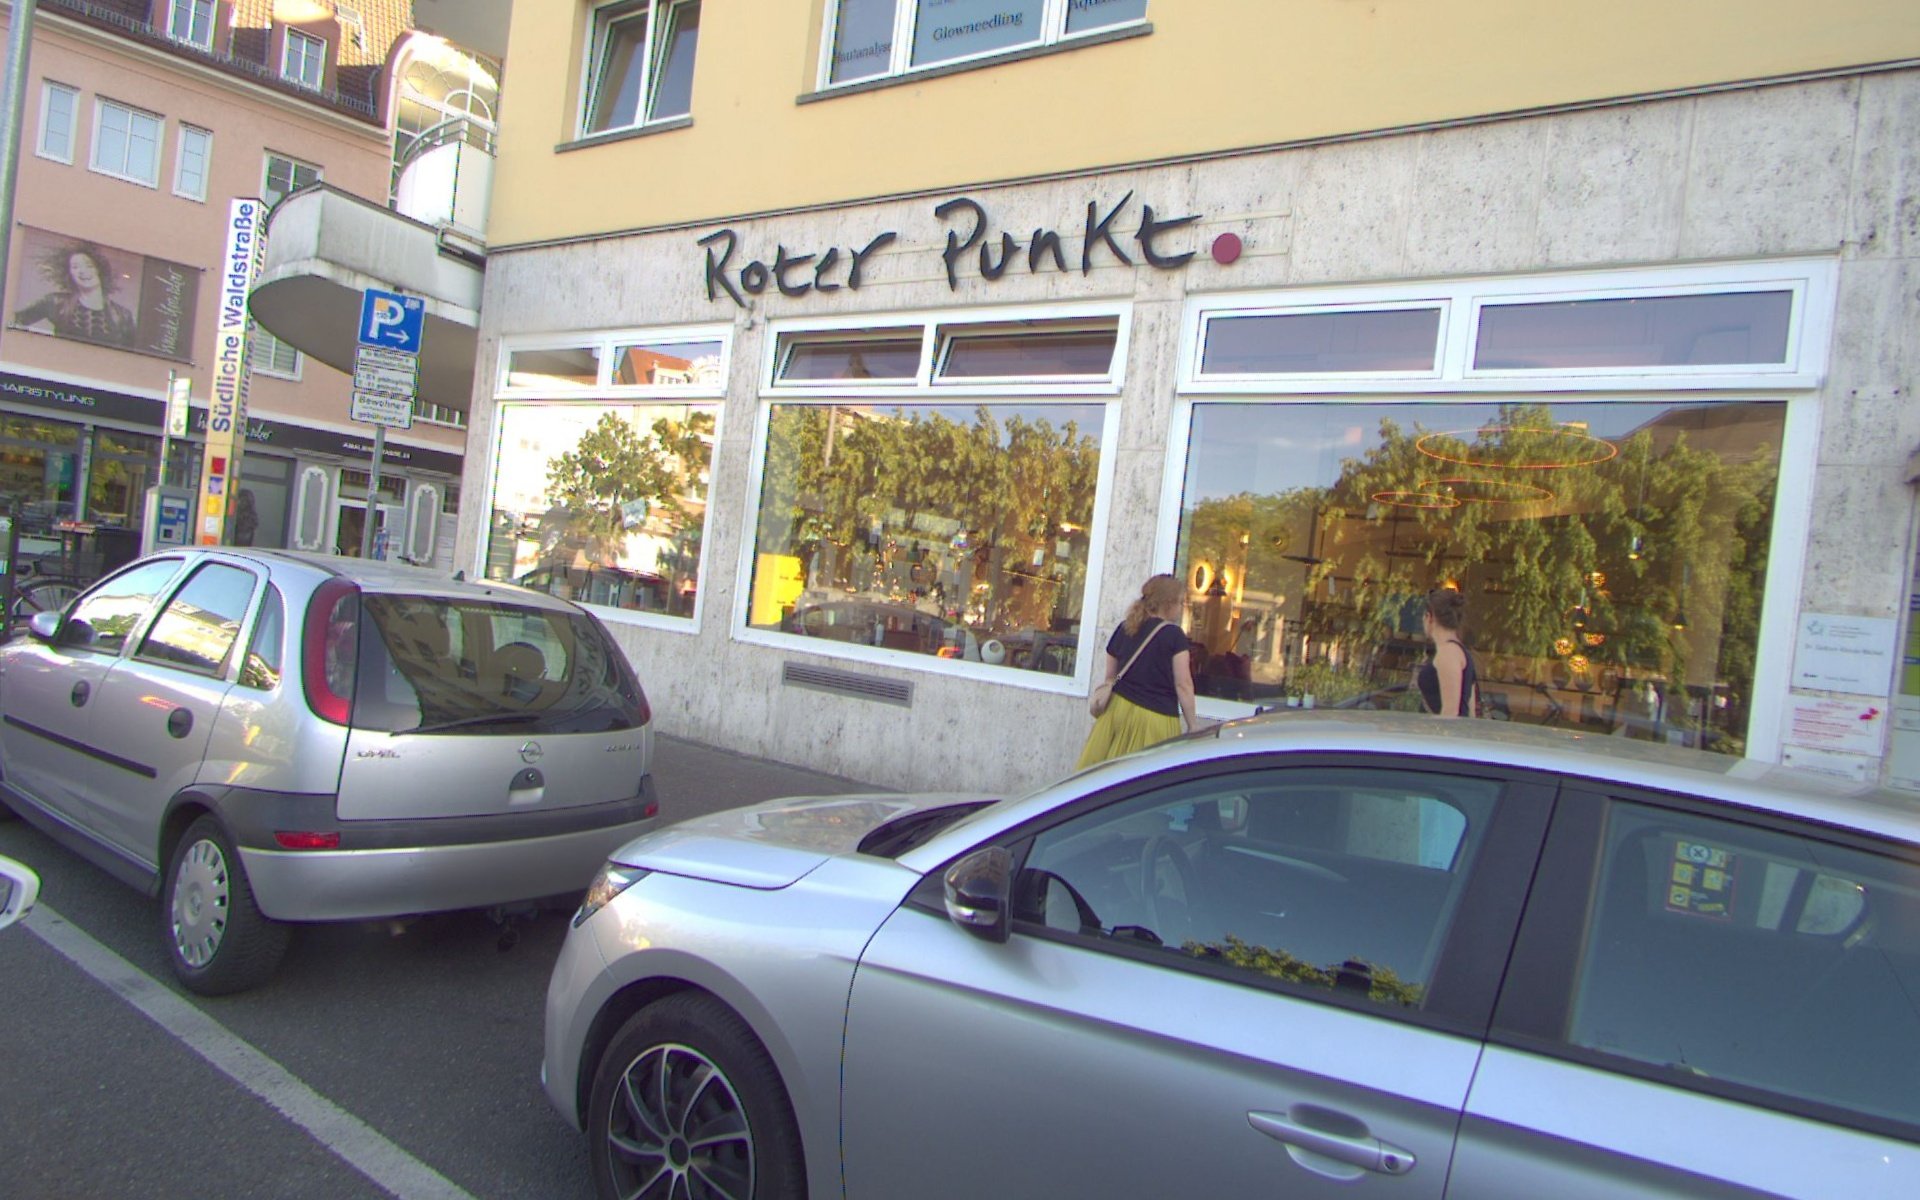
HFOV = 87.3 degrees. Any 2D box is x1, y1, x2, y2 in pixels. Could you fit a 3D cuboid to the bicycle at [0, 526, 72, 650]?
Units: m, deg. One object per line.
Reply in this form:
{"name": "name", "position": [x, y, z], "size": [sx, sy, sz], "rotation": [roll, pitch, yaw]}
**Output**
{"name": "bicycle", "position": [-9.084, -0.149, 8.807], "size": [0.408, 1.101, 1.872], "rotation": [6, 1, 35]}

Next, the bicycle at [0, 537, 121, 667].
{"name": "bicycle", "position": [-8.117, -0.002, 8.215], "size": [0.348, 1.051, 1.871], "rotation": [6, 1, 38]}

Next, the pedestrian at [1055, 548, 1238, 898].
{"name": "pedestrian", "position": [1.034, 0.671, 5.712], "size": [0.729, 1.805, 0.568], "rotation": [7, 0, 1]}

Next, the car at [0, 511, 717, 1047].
{"name": "car", "position": [-2.924, 0.483, 4.433], "size": [3.420, 1.407, 1.548], "rotation": [6, -1, 33]}

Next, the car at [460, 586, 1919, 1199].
{"name": "car", "position": [0.765, 0.921, 2.259], "size": [3.598, 1.444, 1.550], "rotation": [6, -1, 30]}

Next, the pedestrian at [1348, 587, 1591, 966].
{"name": "pedestrian", "position": [2.480, 0.823, 4.927], "size": [0.652, 1.685, 0.643], "rotation": [7, 0, -29]}
